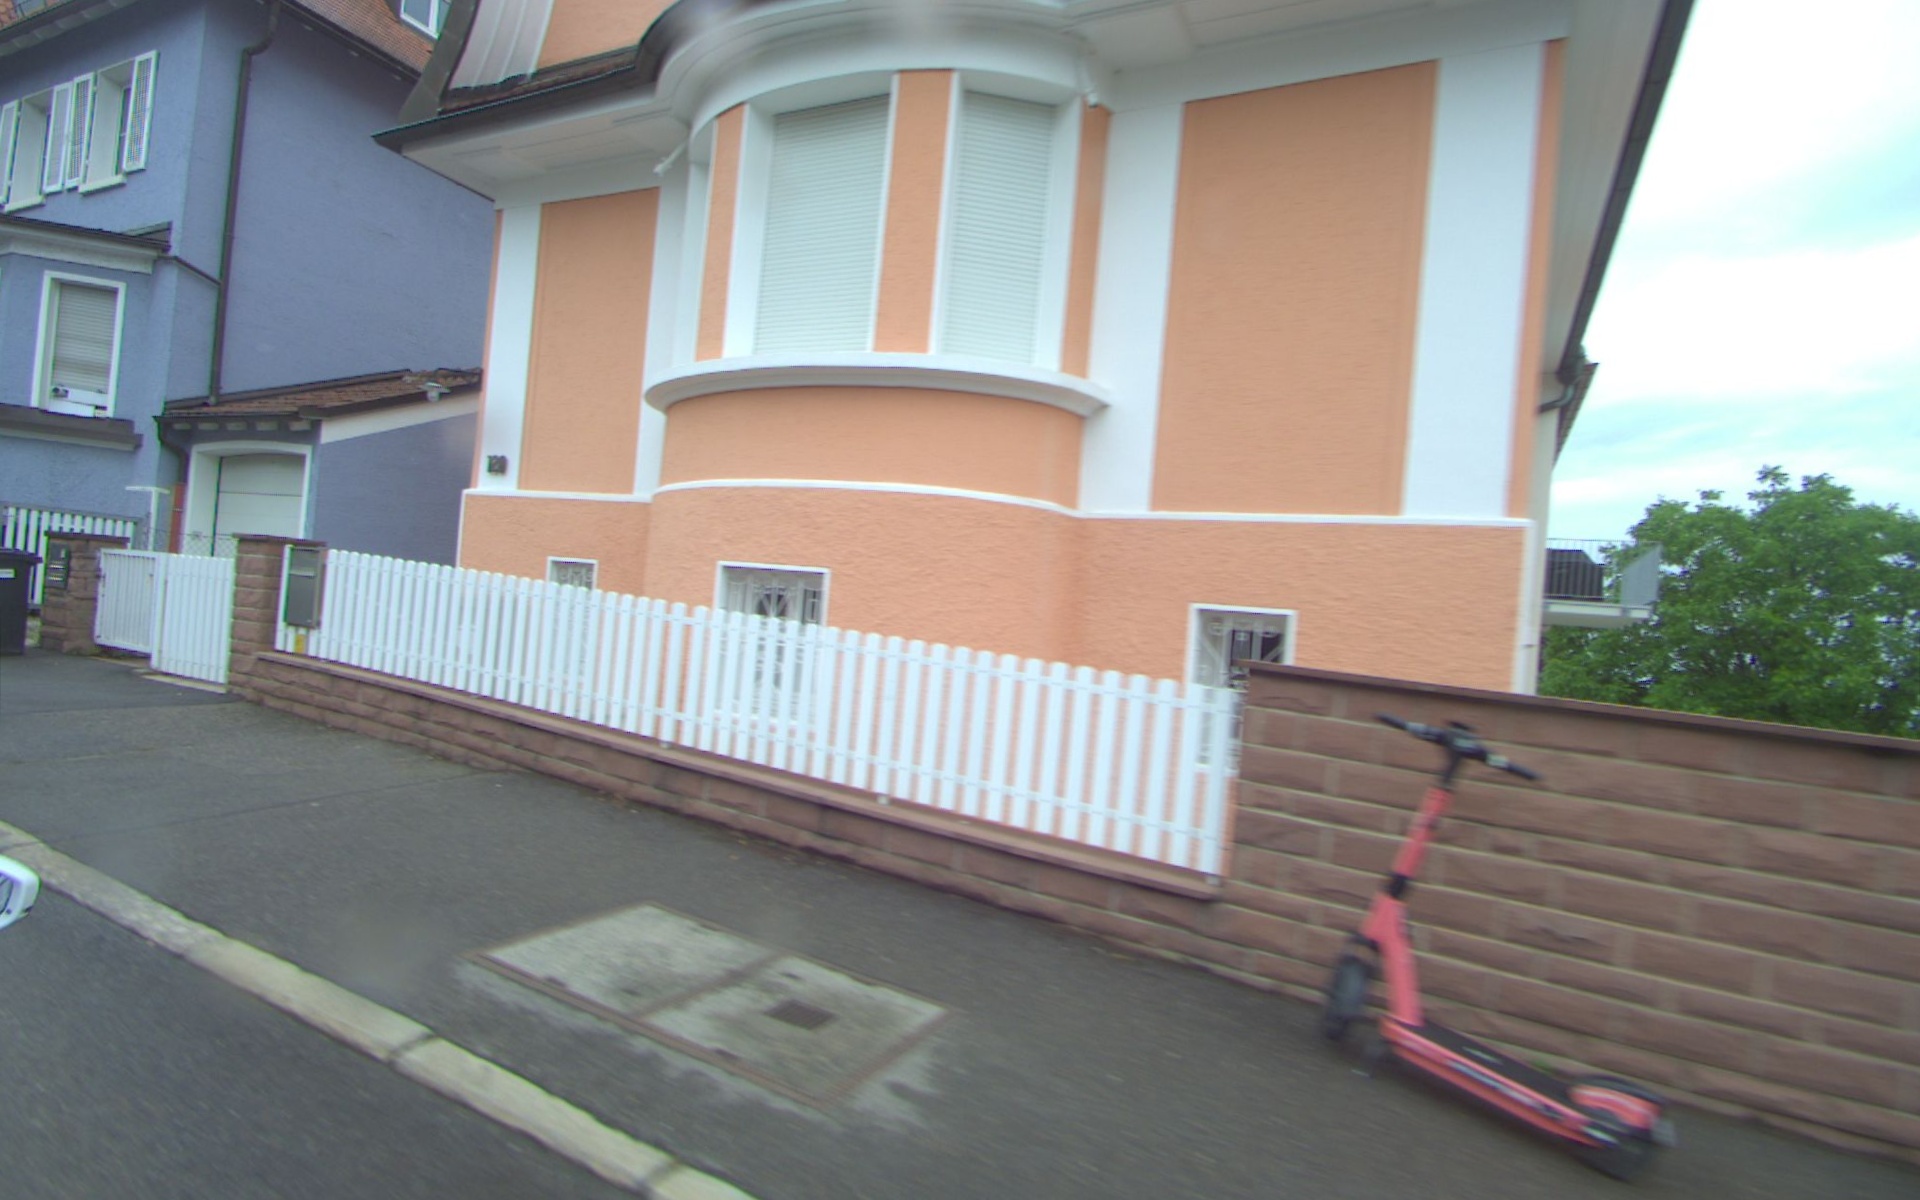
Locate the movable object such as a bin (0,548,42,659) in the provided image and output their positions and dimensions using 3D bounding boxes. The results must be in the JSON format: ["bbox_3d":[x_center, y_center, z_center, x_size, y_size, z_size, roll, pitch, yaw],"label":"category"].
[{"bbox_3d":[-8.429,0.016,8.713,0.479,0.931,0.533,7,2,25],"label":"movable object such as a bin"}]

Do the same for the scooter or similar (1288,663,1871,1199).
[{"bbox_3d":[1.890,0.999,3.285,0.353,1.419,1.463,8,-1,-38],"label":"scooter or similar"}]
